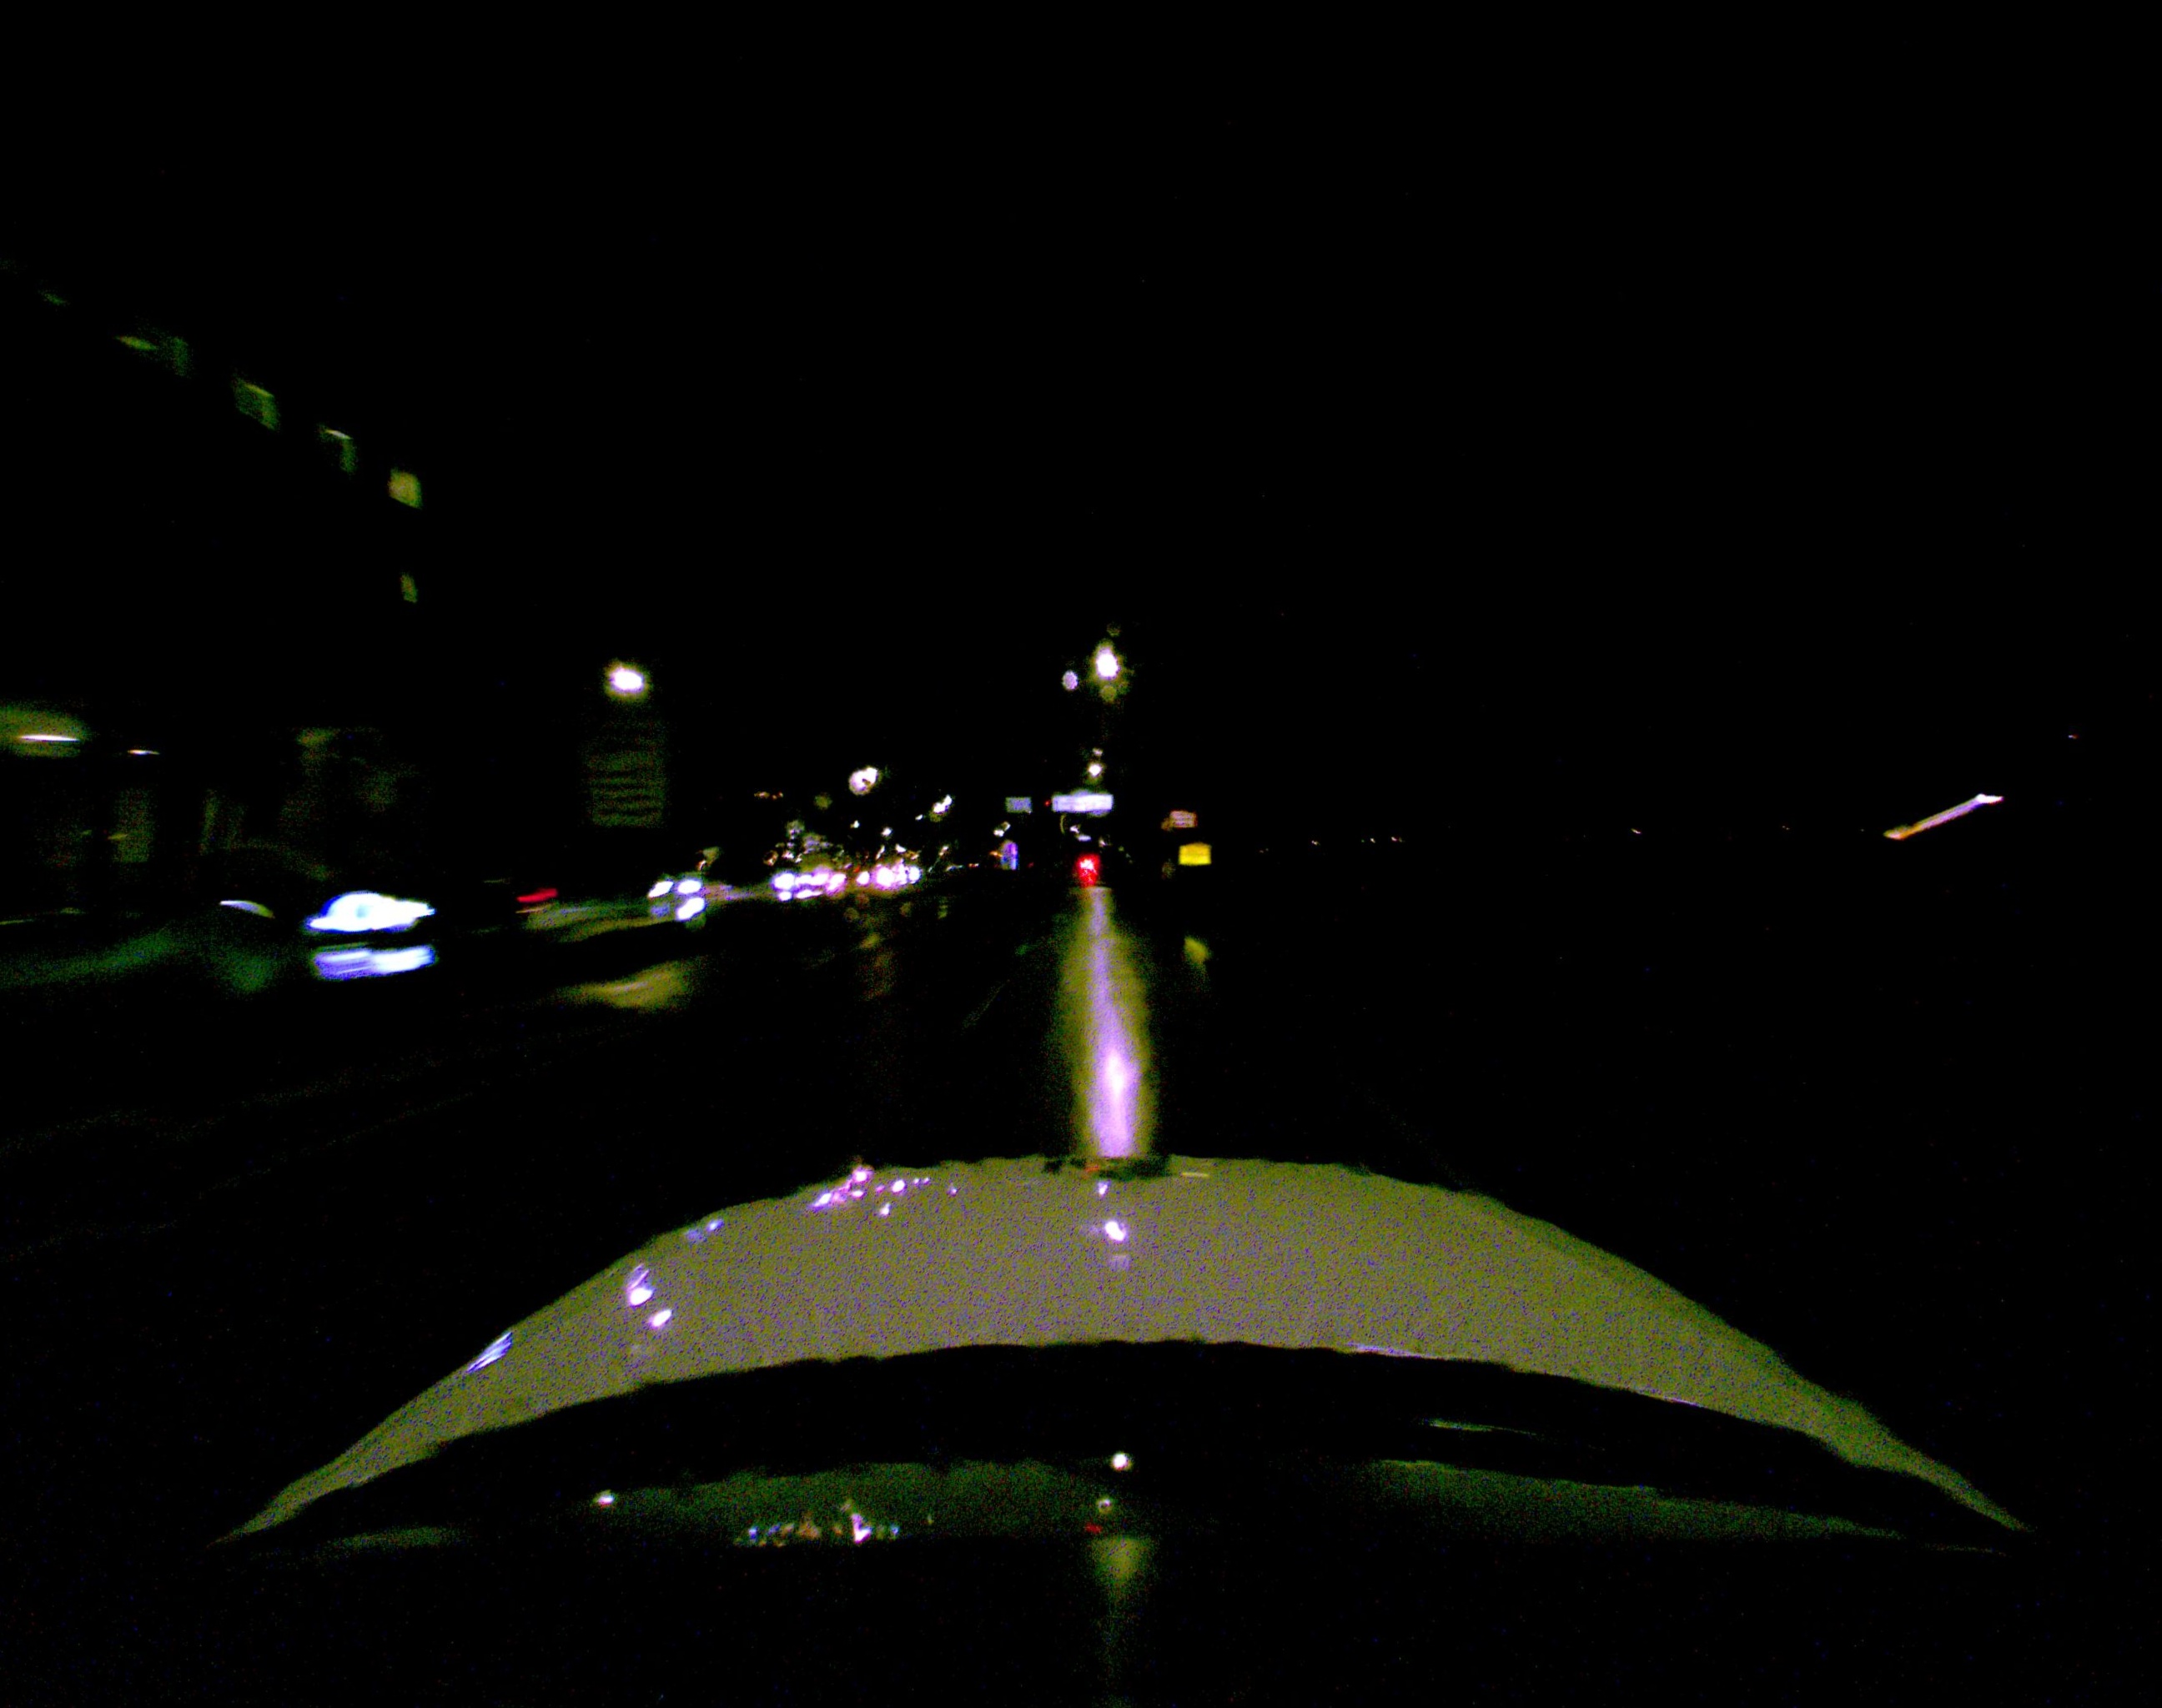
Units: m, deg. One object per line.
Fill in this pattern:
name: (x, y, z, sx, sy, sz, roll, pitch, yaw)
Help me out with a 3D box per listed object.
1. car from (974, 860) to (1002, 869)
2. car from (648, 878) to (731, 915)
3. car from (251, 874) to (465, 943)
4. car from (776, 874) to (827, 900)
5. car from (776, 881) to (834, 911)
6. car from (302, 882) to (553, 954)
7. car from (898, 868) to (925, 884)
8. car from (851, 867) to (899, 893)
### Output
car: (-23.263, 2.667, 203.635, 6.324, 2.089, 2.495, 0, 0, -25)
car: (-18.908, 2.014, 39.570, 1.836, 1.592, 4.366, 0, 0, 1)
car: (-19.296, 1.392, 22.058, 1.836, 1.592, 4.366, 0, 0, 1)
car: (-18.968, 2.241, 55.419, 1.836, 1.592, 4.366, 0, 0, 1)
car: (-16.386, 2.475, 48.583, 1.836, 1.592, 4.366, 0, 0, 1)
car: (-15.822, 1.462, 20.255, 1.838, 1.358, 5.556, 0, 0, -1)
car: (-18.874, 2.383, 90.912, 2.018, 1.684, 4.546, 0, 0, 0)
car: (-12.959, 1.602, 51.444, 1.836, 1.486, 4.366, 0, 0, 1)
